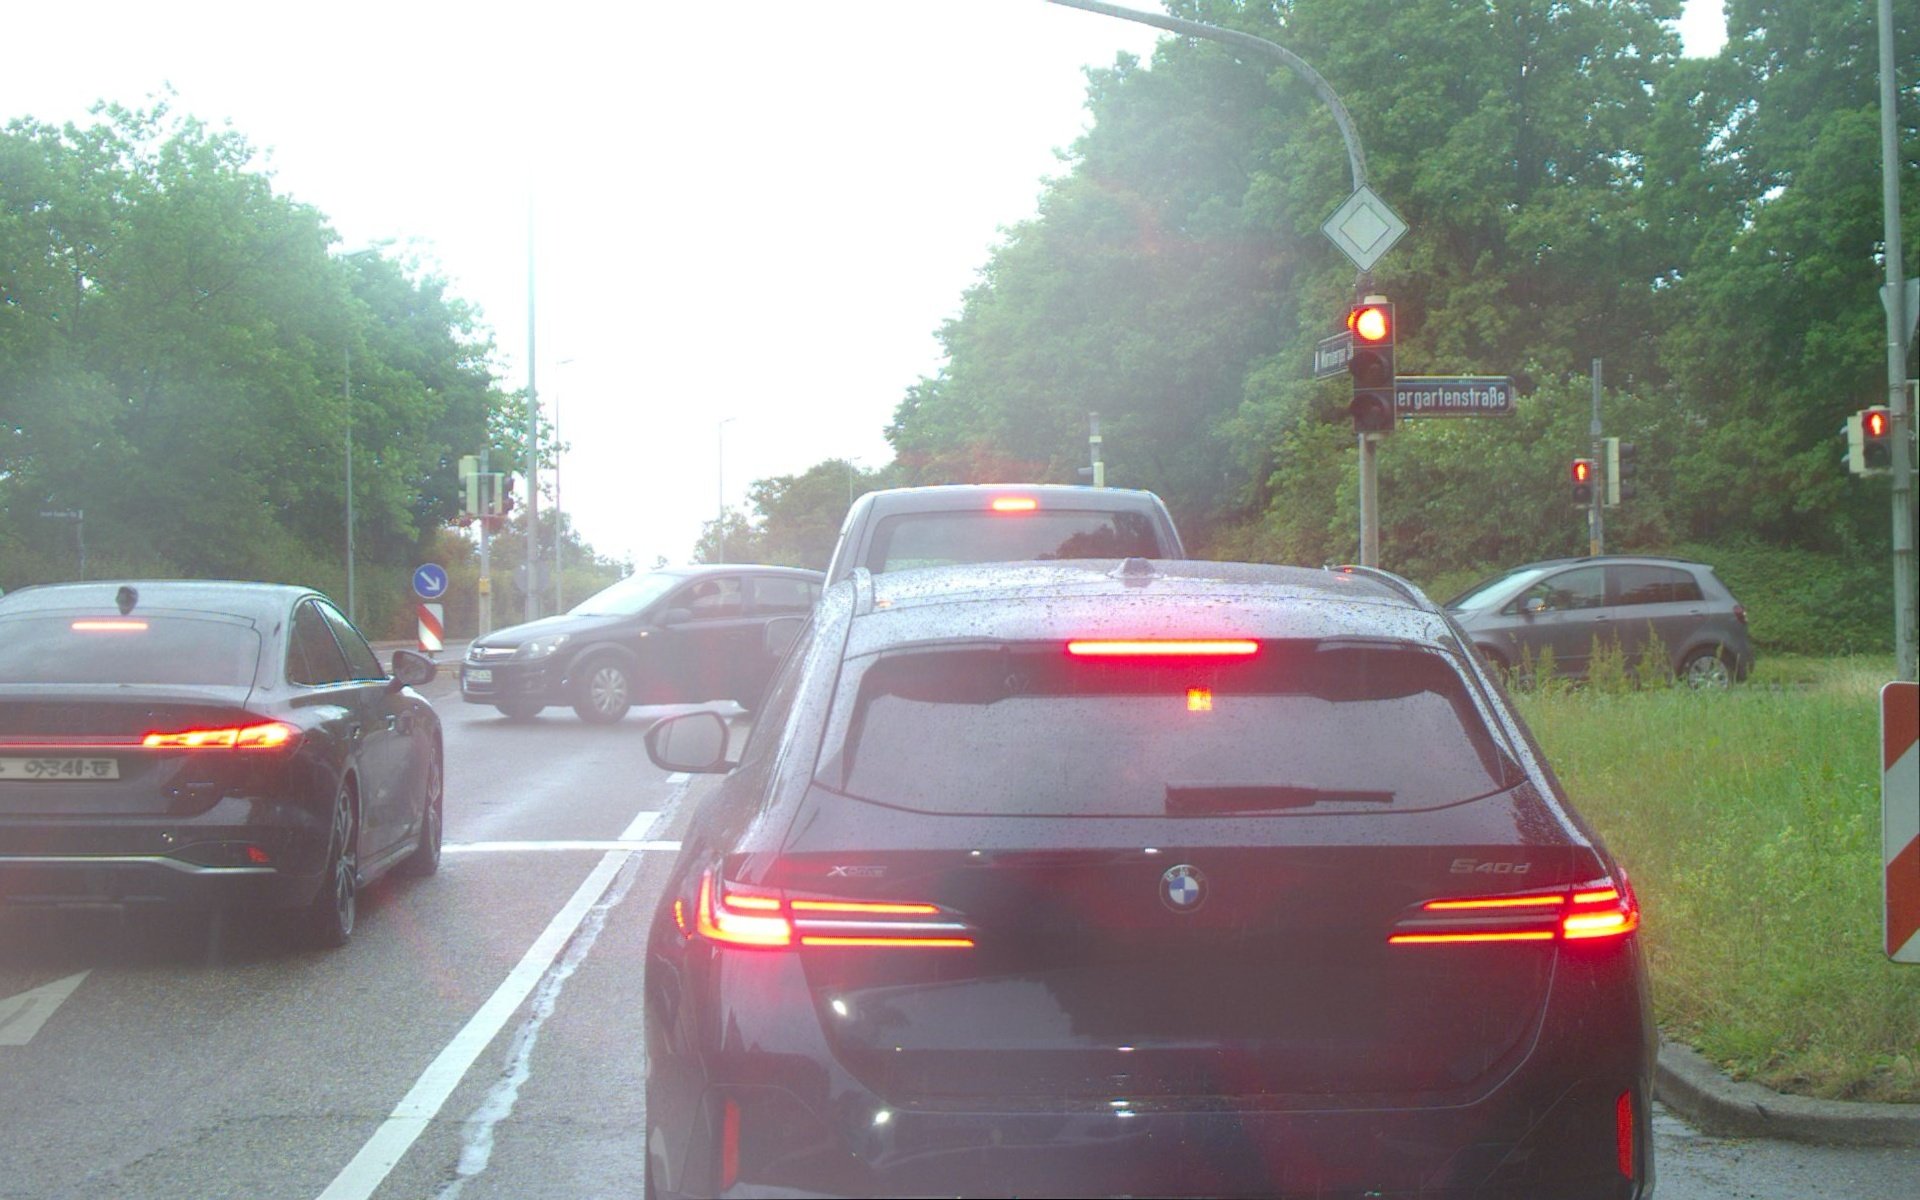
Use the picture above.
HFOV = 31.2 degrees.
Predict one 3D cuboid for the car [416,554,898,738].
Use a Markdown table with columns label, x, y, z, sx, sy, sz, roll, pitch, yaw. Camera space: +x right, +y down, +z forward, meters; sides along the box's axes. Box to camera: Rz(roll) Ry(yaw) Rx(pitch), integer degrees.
| label | x | y | z | sx | sy | sz | roll | pitch | yaw |
| --- | --- | --- | --- | --- | --- | --- | --- | --- | --- |
| car | -2.791 | 0.393 | 31.891 | 3.987 | 1.504 | 1.901 | -2 | 1 | -33 |

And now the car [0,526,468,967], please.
| label | x | y | z | sx | sy | sz | roll | pitch | yaw |
| --- | --- | --- | --- | --- | --- | --- | --- | --- | --- |
| car | -3.374 | 0.529 | 14.315 | 1.993 | 1.522 | 4.327 | -2 | 0 | 0 |

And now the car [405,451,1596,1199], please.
| label | x | y | z | sx | sy | sz | roll | pitch | yaw |
| --- | --- | --- | --- | --- | --- | --- | --- | --- | --- |
| car | 0.171 | 0.558 | 7.816 | 1.898 | 1.546 | 4.614 | 1 | 0 | 3 |

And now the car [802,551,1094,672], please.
| label | x | y | z | sx | sy | sz | roll | pitch | yaw |
| --- | --- | --- | --- | --- | --- | --- | --- | --- | --- |
| car | -0.180 | 0.159 | 43.835 | 1.698 | 1.422 | 3.511 | -2 | 0 | -44 |

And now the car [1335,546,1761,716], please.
| label | x | y | z | sx | sy | sz | roll | pitch | yaw |
| --- | --- | --- | --- | --- | --- | --- | --- | --- | --- |
| car | 6.177 | 0.299 | 36.239 | 4.017 | 1.596 | 1.749 | -2 | 1 | -14 |

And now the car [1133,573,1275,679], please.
| label | x | y | z | sx | sy | sz | roll | pitch | yaw |
| --- | --- | --- | --- | --- | --- | --- | --- | --- | --- |
| car | 3.789 | 0.390 | 53.988 | 1.873 | 1.537 | 3.952 | -2 | 0 | 0 |

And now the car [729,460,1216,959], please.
| label | x | y | z | sx | sy | sz | roll | pitch | yaw |
| --- | --- | --- | --- | --- | --- | --- | --- | --- | --- |
| car | 0.042 | 0.406 | 14.915 | 1.818 | 1.862 | 3.952 | 0 | 0 | 0 |
